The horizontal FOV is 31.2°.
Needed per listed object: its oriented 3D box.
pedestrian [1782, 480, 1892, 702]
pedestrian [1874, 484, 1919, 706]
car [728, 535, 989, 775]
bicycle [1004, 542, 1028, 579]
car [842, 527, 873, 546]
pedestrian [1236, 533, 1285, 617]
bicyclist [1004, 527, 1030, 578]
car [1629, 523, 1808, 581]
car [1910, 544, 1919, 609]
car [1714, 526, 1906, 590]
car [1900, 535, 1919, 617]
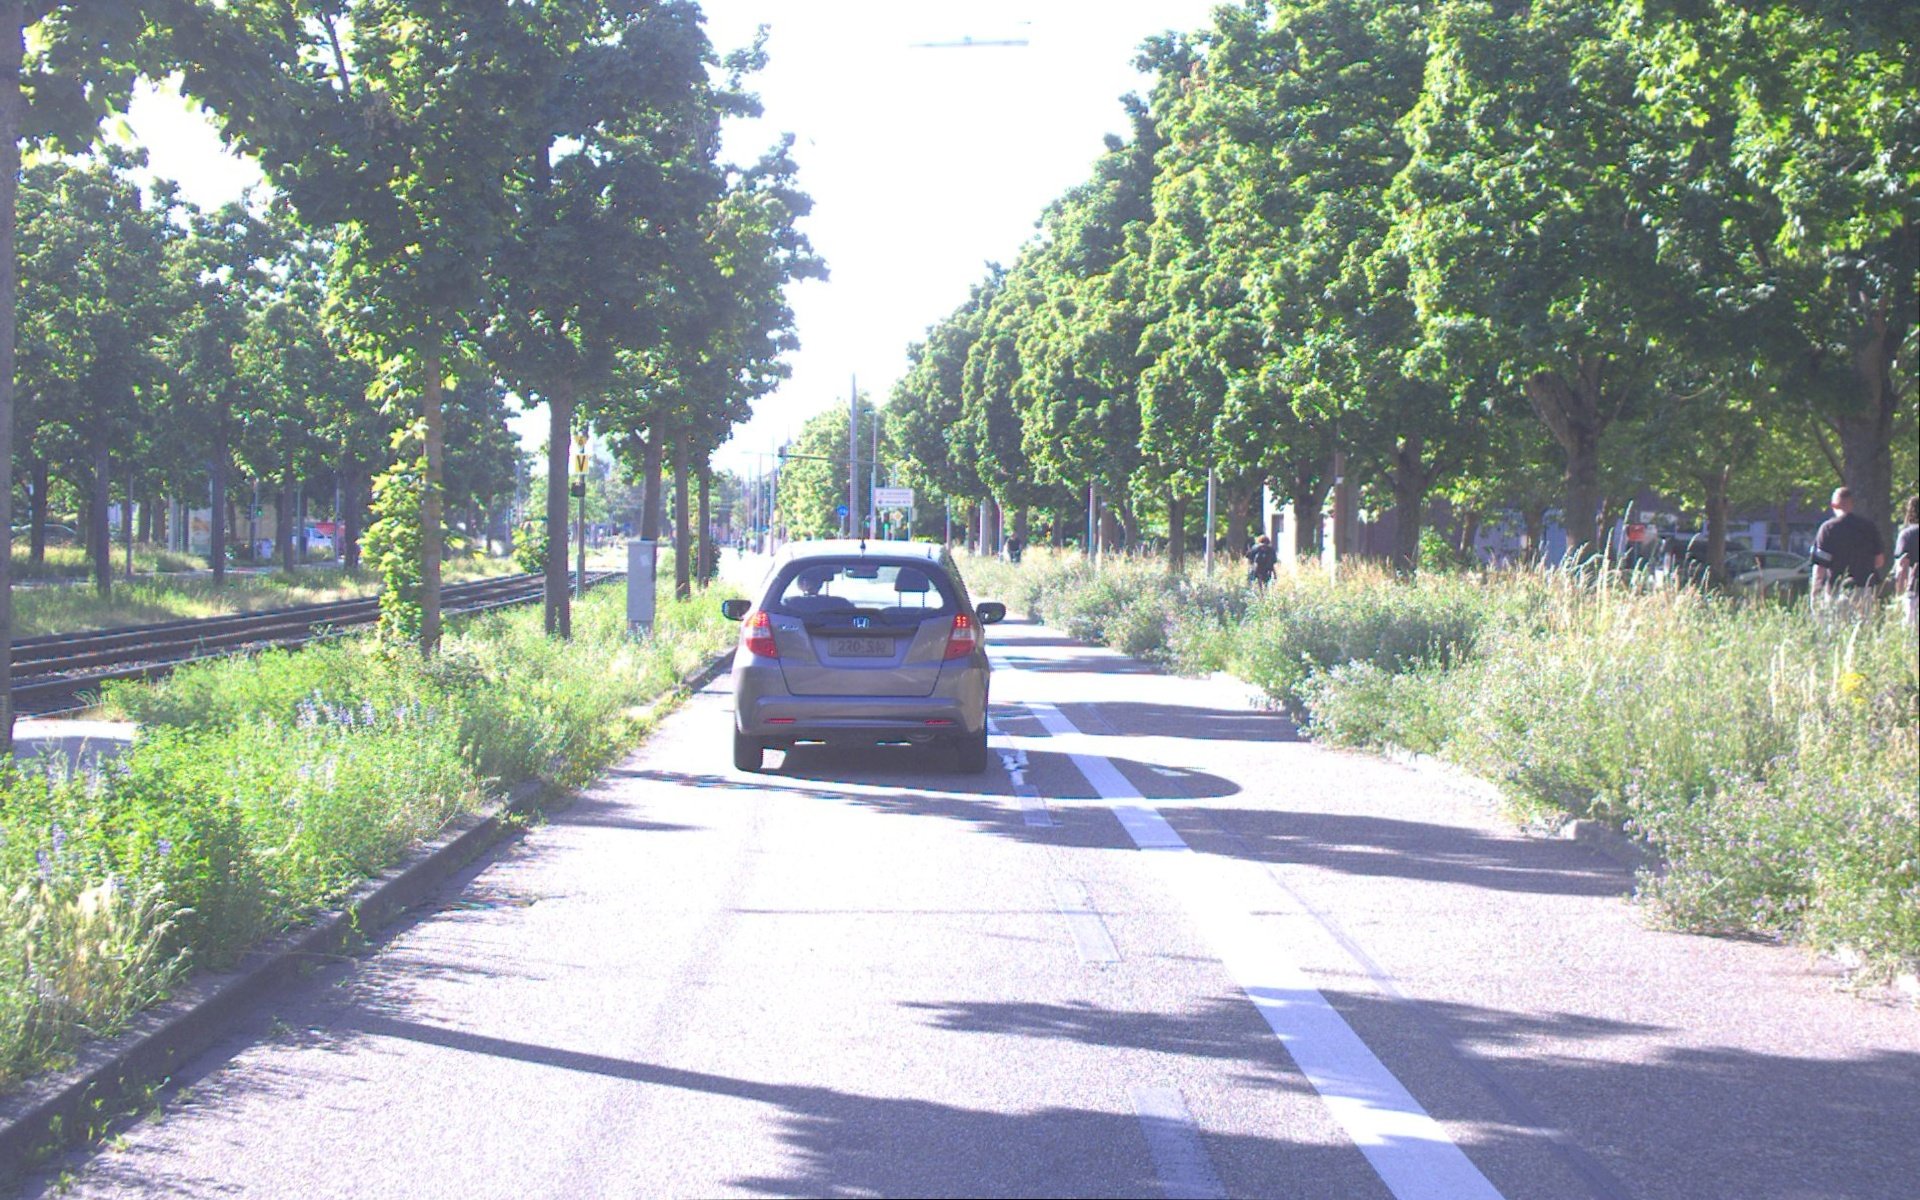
[{"bbox_3d":[7.702,-0.087,30.224,0.708,1.911,0.817,1,1,0],"label":"pedestrian"},{"bbox_3d":[8.543,-0.046,30.306,0.708,1.924,0.817,1,1,0],"label":"pedestrian"},{"bbox_3d":[-0.716,0.318,23.468,1.624,1.494,3.457,1,1,-2],"label":"car"},{"bbox_3d":[1.899,-1.354,117.071,0.482,1.200,2.144,1,-1,-7],"label":"bicycle"},{"bbox_3d":[-7.251,-4.484,242.939,1.773,1.382,3.871,0,1,-8],"label":"car"},{"bbox_3d":[5.692,-0.469,65.137,0.824,1.563,0.762,1,1,-1],"label":"pedestrian"},{"bbox_3d":[1.940,-1.609,117.033,0.683,1.714,0.903,1,0,-10],"label":"bicyclist"},{"bbox_3d":[20.034,-1.267,90.923,4.356,1.454,1.689,1,1,1],"label":"car"},{"bbox_3d":[22.137,-0.463,71.395,4.293,1.319,1.940,0,2,3],"label":"car"},{"bbox_3d":[20.484,-1.025,82.995,4.165,1.427,1.824,1,1,1],"label":"car"},{"bbox_3d":[20.617,-0.433,66.320,4.391,1.591,1.884,1,1,-5],"label":"car"}]
